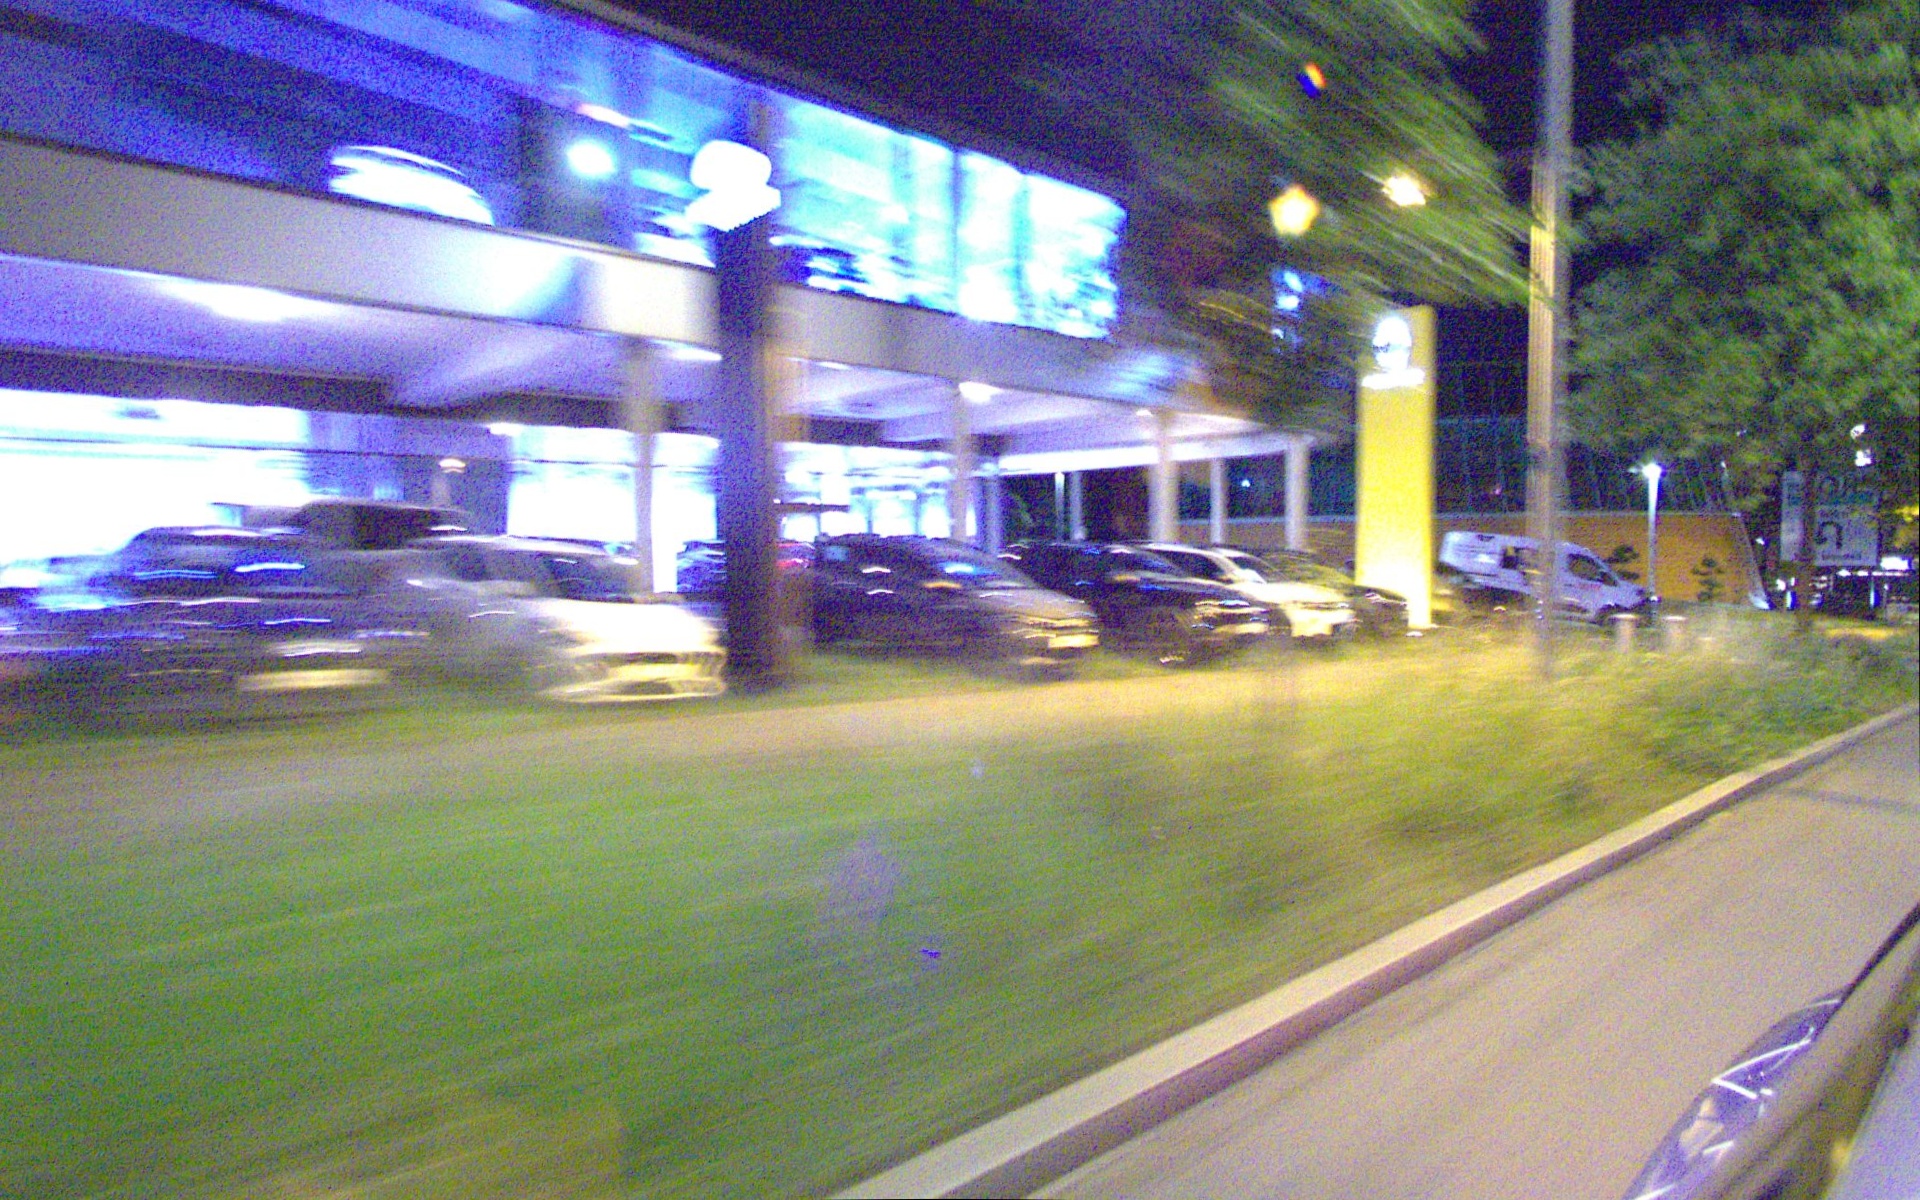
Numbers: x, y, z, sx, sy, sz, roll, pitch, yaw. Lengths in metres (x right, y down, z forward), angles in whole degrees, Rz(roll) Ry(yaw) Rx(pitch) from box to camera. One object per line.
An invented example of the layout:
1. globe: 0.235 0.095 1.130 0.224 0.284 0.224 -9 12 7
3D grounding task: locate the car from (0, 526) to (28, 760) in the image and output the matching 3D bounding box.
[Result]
1. car: -7.842 0.116 6.567 4.011 1.390 1.804 6 4 34

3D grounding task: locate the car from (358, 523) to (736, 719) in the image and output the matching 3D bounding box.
1. car: -4.123 0.068 9.891 3.793 1.470 1.695 5 4 36

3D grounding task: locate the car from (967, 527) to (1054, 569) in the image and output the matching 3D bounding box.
1. car: 2.223 -2.164 43.199 1.981 1.682 4.625 1 2 27

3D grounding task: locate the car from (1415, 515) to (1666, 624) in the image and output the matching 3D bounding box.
1. car: 16.860 -0.973 29.667 5.999 2.559 2.257 7 5 34

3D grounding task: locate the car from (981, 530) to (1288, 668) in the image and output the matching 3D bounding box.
1. car: 2.512 -0.112 15.109 4.077 1.587 1.828 7 5 39

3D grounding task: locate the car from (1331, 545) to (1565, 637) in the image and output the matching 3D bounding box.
1. car: 10.559 -0.263 22.056 4.198 1.683 1.933 5 4 40

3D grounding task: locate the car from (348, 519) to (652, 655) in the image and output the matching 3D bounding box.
1. car: -6.105 -0.250 14.024 1.960 1.548 3.991 2 3 9

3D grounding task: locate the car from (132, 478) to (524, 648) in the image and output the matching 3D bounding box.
1. car: -8.418 -0.486 14.142 1.807 1.941 4.810 0 1 13

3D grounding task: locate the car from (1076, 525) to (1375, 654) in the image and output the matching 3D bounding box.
1. car: 4.437 -0.273 17.318 4.457 1.707 1.972 7 5 39

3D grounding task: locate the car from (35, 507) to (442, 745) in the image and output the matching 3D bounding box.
1. car: -6.054 0.050 8.352 3.761 1.395 1.694 7 5 37

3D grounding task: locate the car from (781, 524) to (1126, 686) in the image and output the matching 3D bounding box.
1. car: -0.231 -0.083 13.337 4.459 1.565 1.744 8 7 41

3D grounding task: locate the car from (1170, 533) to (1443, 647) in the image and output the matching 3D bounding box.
1. car: 6.501 -0.274 19.257 4.455 1.832 1.972 5 3 40

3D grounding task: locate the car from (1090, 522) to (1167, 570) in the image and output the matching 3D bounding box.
1. car: 6.614 -2.090 39.439 1.766 1.620 3.931 7 5 27

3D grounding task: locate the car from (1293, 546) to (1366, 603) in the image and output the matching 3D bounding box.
1. car: 12.475 -0.888 34.030 1.794 1.732 3.931 4 4 27
